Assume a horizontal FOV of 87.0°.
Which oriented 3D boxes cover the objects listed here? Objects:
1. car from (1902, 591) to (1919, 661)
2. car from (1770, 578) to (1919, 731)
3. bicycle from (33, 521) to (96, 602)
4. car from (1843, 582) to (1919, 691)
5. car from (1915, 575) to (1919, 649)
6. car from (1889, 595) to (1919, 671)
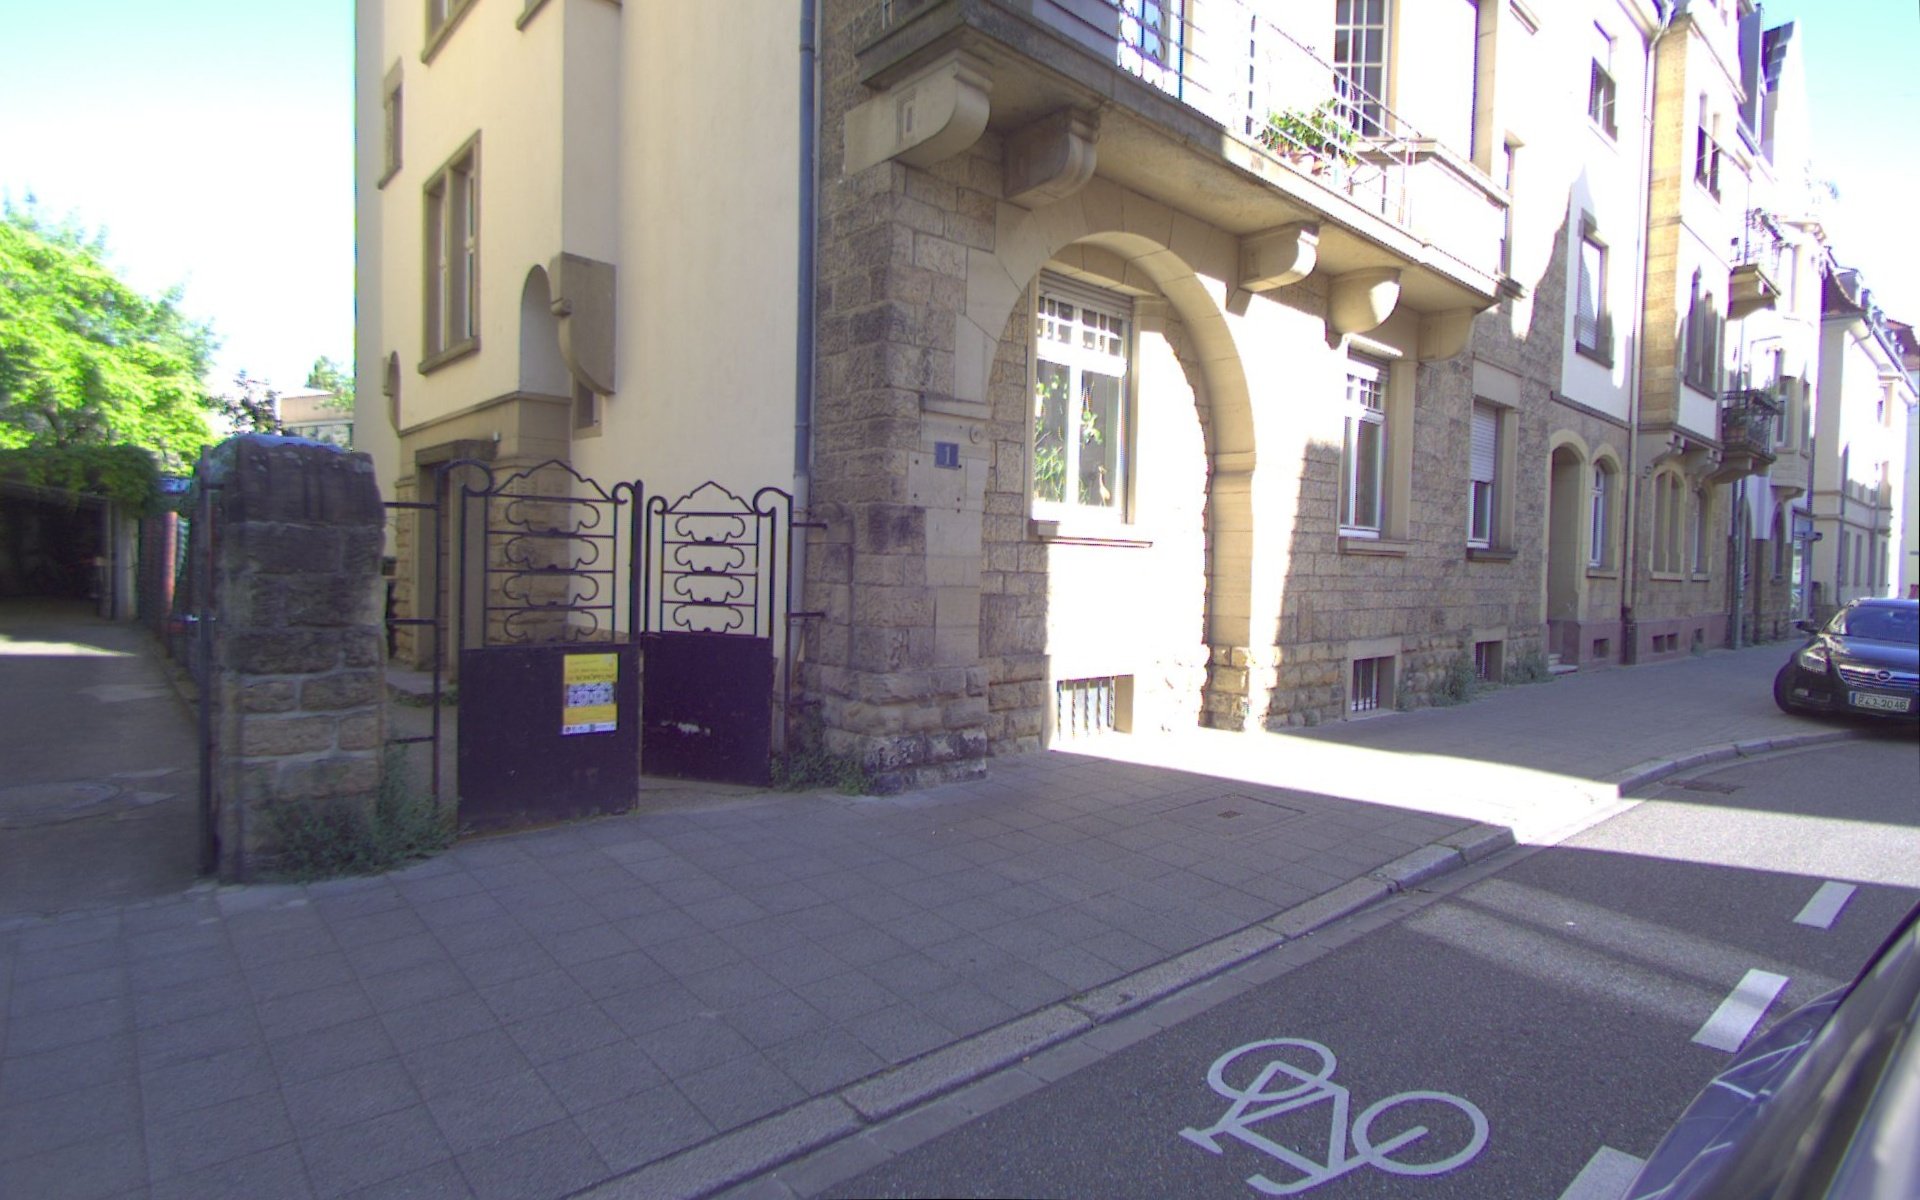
[{"bbox_3d":[22.169,0.579,22.194,4.247,1.440,1.823,-1,4,-42],"label":"car"},{"bbox_3d":[11.484,0.568,12.169,4.043,1.526,2.023,-1,5,-42],"label":"car"},{"bbox_3d":[-18.304,-0.814,20.725,0.903,1.530,2.672,0,4,-41],"label":"bicycle"},{"bbox_3d":[15.529,0.563,15.868,4.247,1.527,2.004,0,3,-42],"label":"car"},{"bbox_3d":[26.231,0.333,26.051,4.247,1.860,2.004,-1,4,-42],"label":"car"},{"bbox_3d":[18.792,0.616,18.972,3.667,1.295,1.659,-1,4,-42],"label":"car"}]
